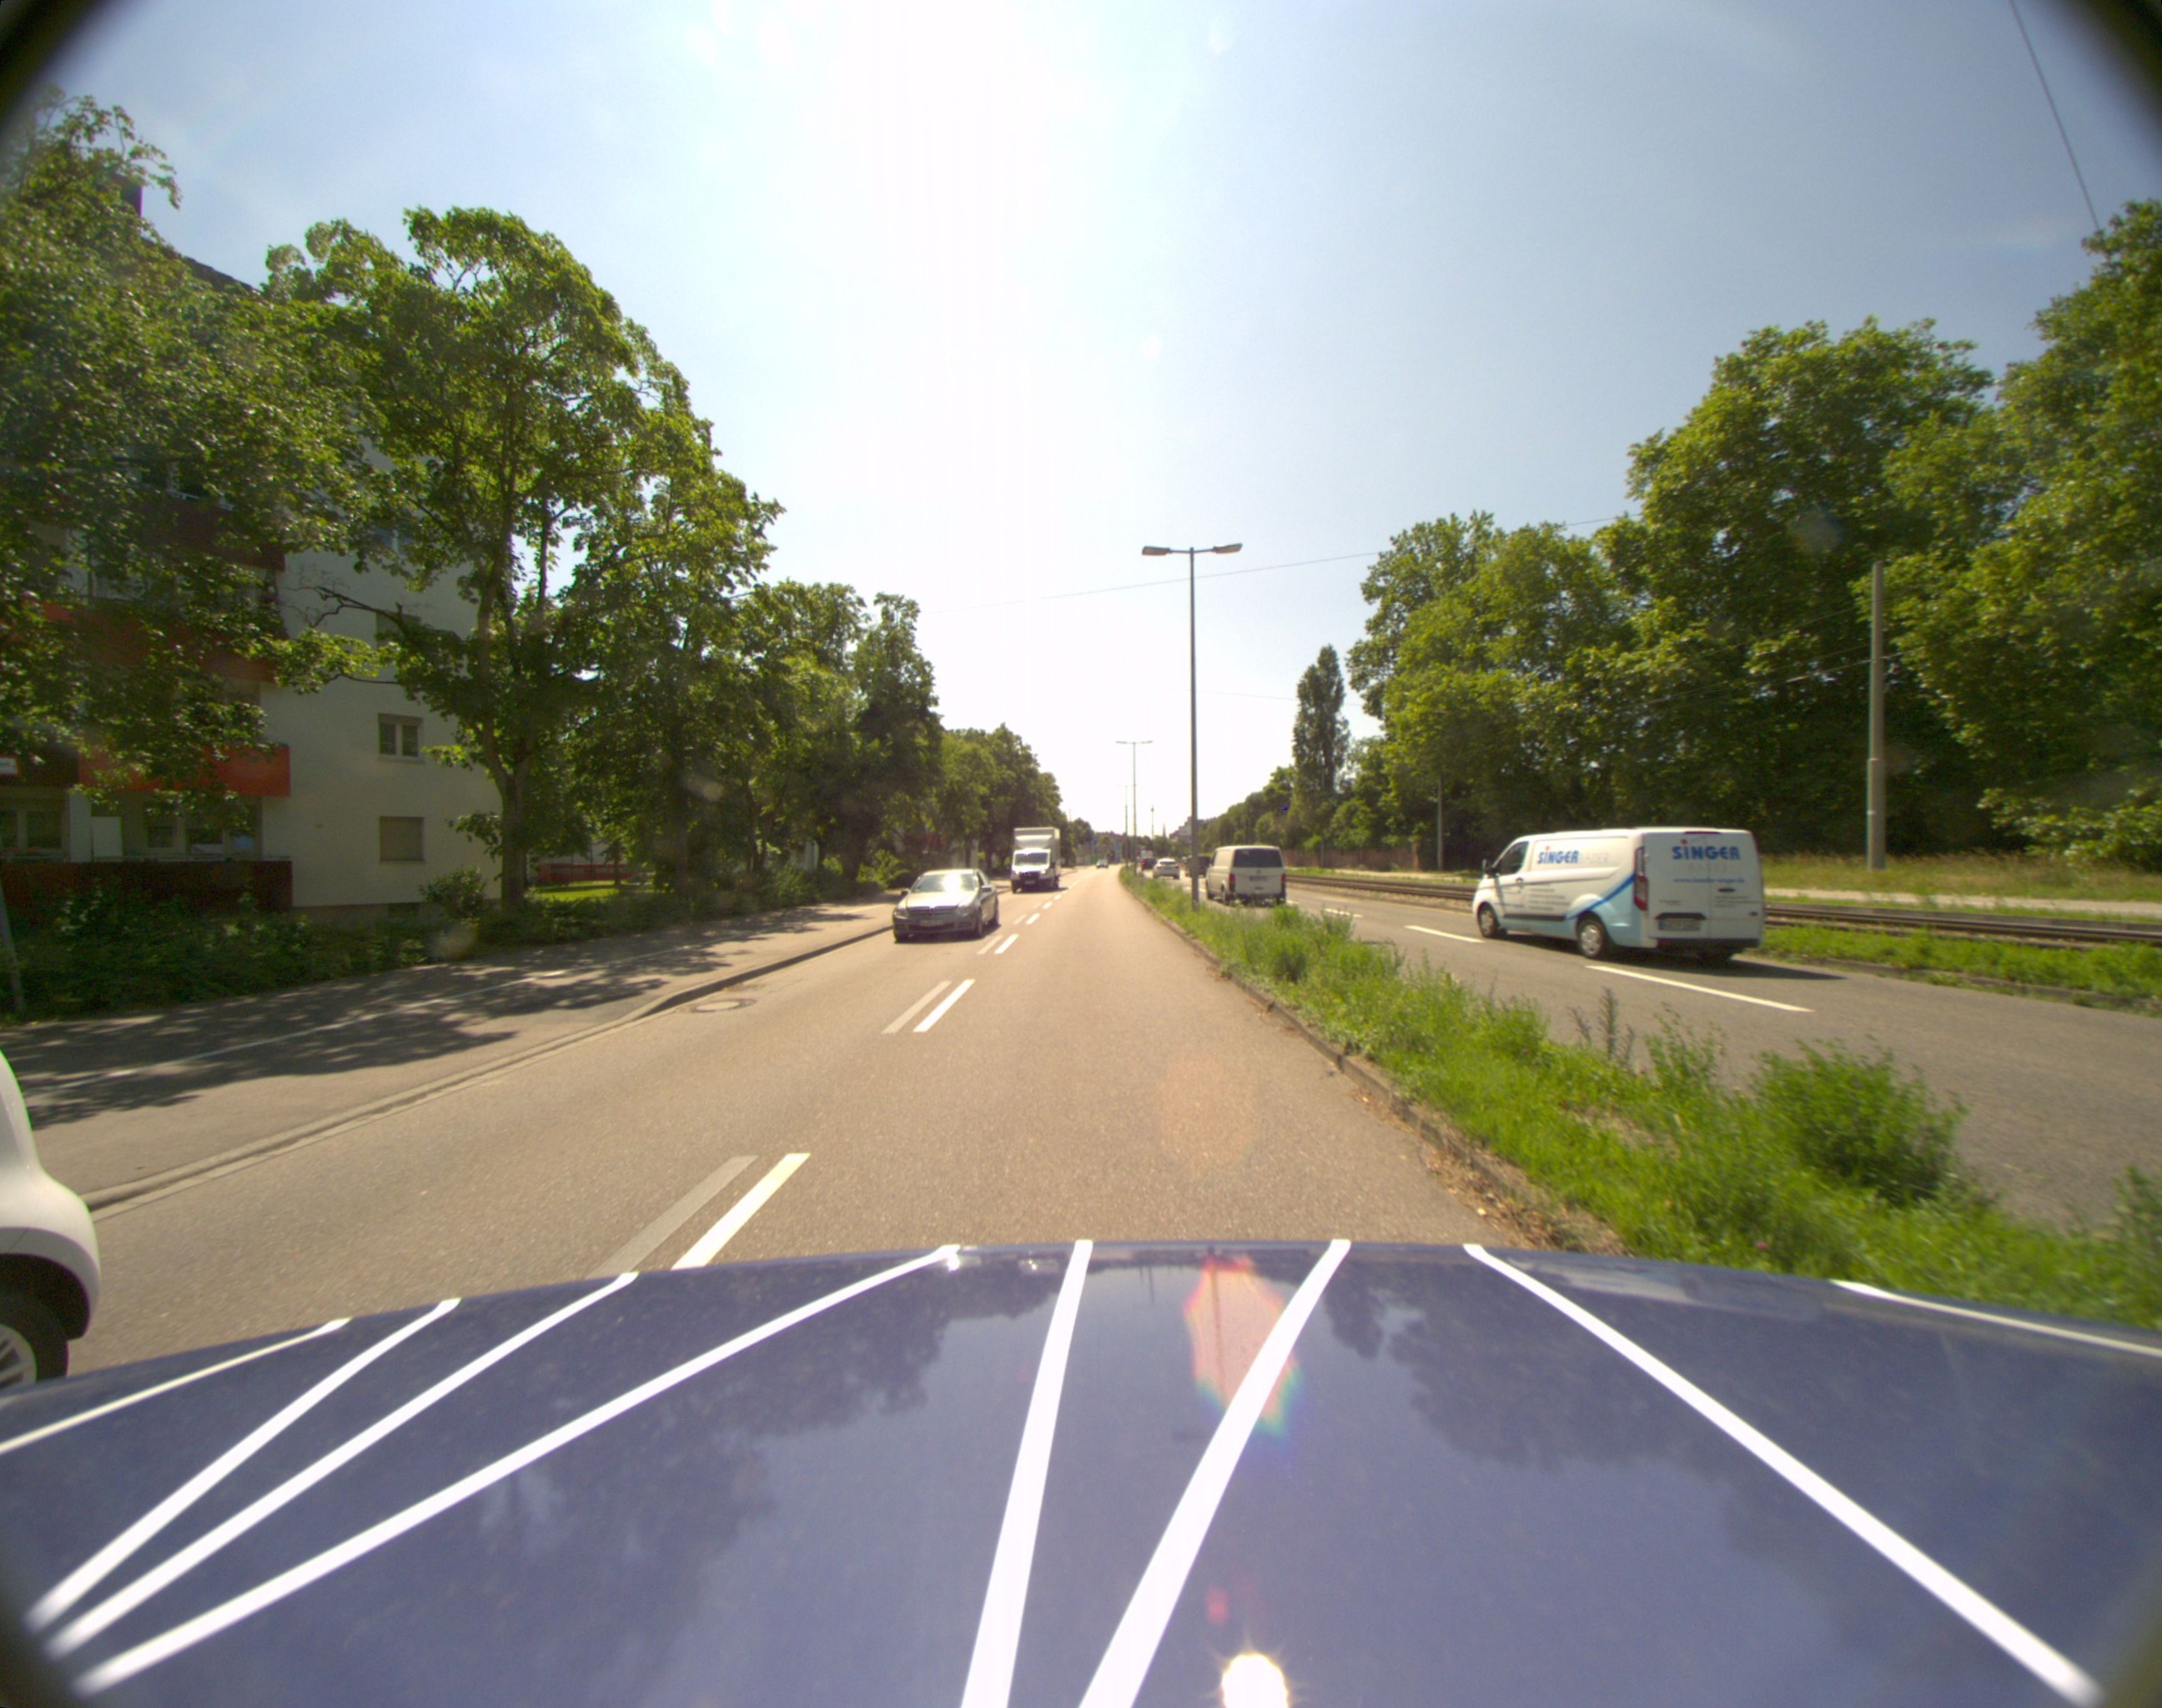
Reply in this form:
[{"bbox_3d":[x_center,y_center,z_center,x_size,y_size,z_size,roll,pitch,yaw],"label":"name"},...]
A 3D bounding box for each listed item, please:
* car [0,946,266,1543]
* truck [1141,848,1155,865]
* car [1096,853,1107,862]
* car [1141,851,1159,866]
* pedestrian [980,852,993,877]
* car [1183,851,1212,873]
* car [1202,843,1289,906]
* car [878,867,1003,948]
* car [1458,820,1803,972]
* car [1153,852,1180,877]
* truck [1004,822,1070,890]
[{"bbox_3d":[-3.604,1.067,0.618,1.663,1.441,3.854,-2,0,0],"label":"car"},{"bbox_3d":[11.073,0.342,126.044,2.086,2.732,5.548,0,0,3],"label":"truck"},{"bbox_3d":[3.483,0.583,129.787,1.829,1.556,4.000,-1,0,0],"label":"car"},{"bbox_3d":[8.316,0.525,92.026,1.833,1.703,4.794,0,0,1],"label":"car"},{"bbox_3d":[-6.383,0.717,51.280,0.670,1.634,0.856,-1,1,2],"label":"pedestrian"},{"bbox_3d":[9.656,0.638,63.037,1.834,1.791,4.615,0,0,2],"label":"car"},{"bbox_3d":[5.455,0.612,25.985,1.834,1.895,5.566,0,0,1],"label":"car"},{"bbox_3d":[-2.944,1.087,16.803,1.903,1.451,3.971,-2,0,1],"label":"car"},{"bbox_3d":[8.489,0.568,12.528,1.999,2.002,5.030,0,0,-1],"label":"car"},{"bbox_3d":[6.302,0.752,56.352,1.834,1.728,4.039,0,0,4],"label":"car"},{"bbox_3d":[-2.216,0.083,41.275,2.293,3.259,8.314,-2,0,5],"label":"truck"}]
